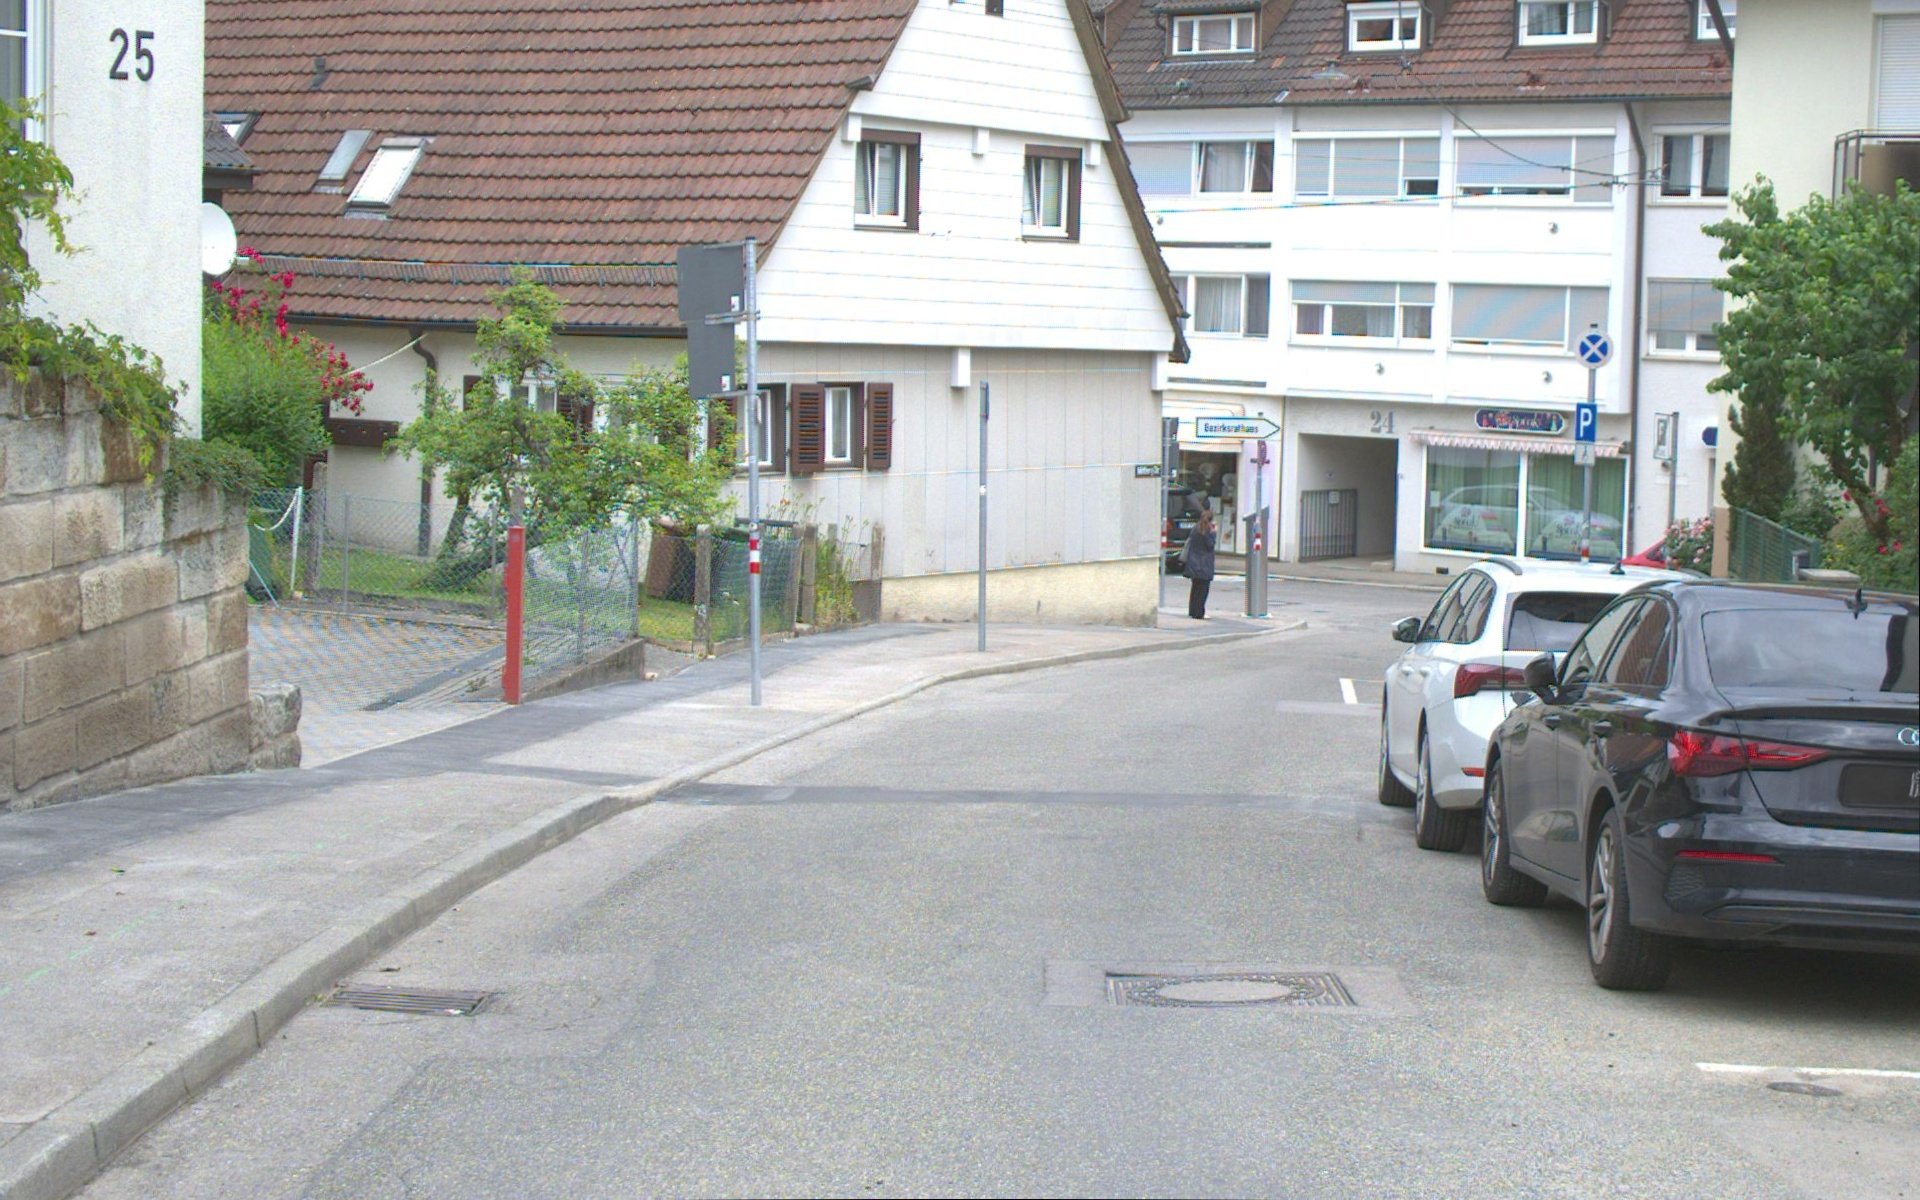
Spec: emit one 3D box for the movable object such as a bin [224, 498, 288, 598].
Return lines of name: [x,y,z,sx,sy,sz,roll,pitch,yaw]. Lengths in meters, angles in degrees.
movable object such as a bin: [-6.956,-0.515,33.974,0.399,0.978,0.507,2,1,22]

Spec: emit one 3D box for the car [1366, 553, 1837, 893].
car: [3.219,0.537,18.055,1.795,1.440,4.297,4,1,3]

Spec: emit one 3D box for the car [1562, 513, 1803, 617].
car: [12.435,-0.617,59.312,1.693,1.551,3.694,0,4,-44]

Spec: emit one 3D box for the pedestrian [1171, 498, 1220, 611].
pedestrian: [3.618,-0.706,52.864,0.646,1.679,0.604,3,3,0]

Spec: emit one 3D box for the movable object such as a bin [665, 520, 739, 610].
movable object such as a bin: [-2.827,-0.380,37.734,0.528,0.914,0.489,8,2,35]

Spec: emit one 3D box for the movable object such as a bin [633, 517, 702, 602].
movable object such as a bin: [-3.244,-0.447,38.090,0.495,0.875,0.452,8,2,35]

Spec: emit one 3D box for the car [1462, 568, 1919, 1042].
car: [3.037,0.660,12.948,1.674,1.403,4.051,4,1,1]

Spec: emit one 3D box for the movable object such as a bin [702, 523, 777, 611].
movable object such as a bin: [-2.401,-0.360,37.438,0.528,0.881,0.489,8,2,35]

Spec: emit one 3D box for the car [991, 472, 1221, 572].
car: [2.873,-1.579,68.347,1.942,1.773,4.367,-1,4,-45]
